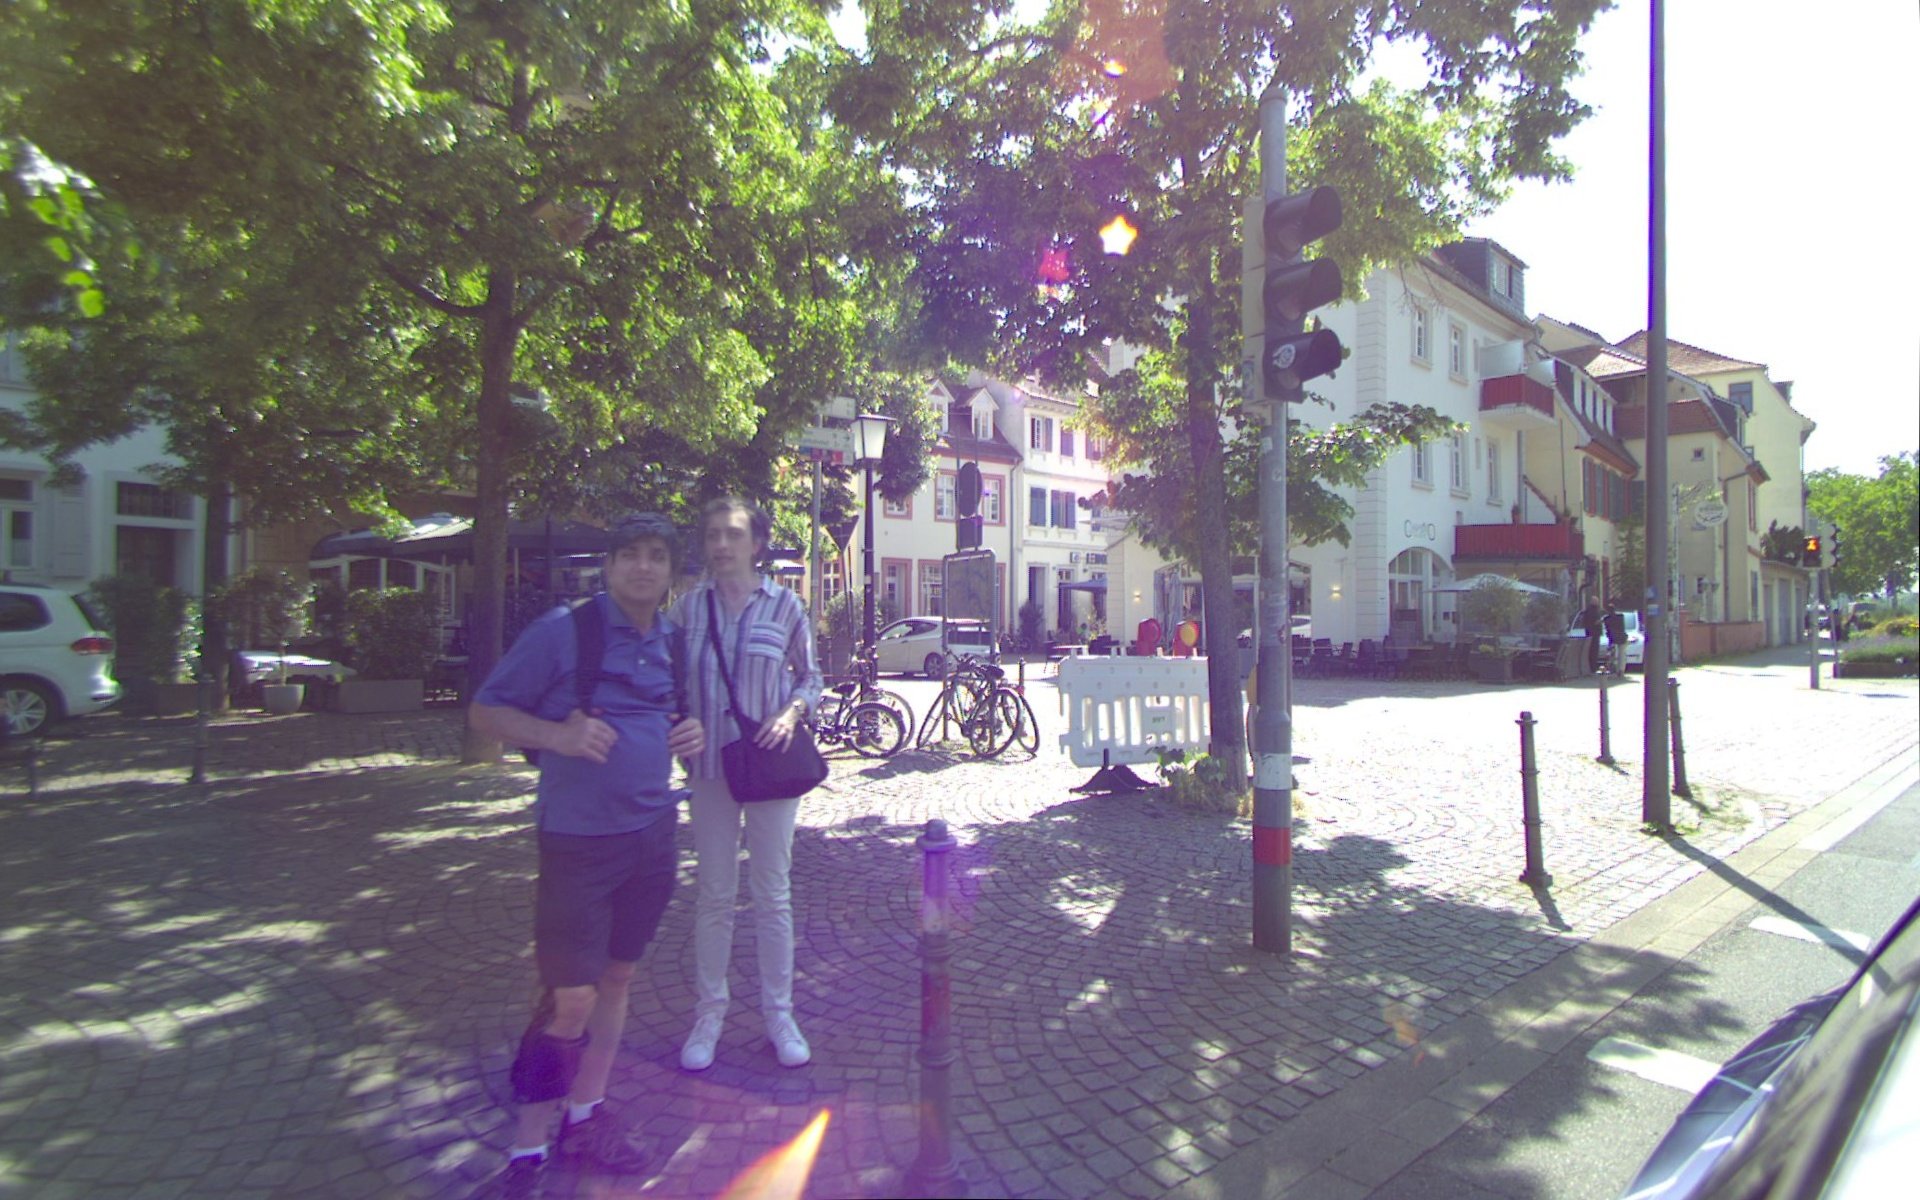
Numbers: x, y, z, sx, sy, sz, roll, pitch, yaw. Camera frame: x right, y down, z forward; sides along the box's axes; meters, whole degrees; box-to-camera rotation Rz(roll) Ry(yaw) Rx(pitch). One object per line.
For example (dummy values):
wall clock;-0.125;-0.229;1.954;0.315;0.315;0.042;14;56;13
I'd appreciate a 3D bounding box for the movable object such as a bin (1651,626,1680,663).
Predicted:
movable object such as a bin;20.692;1.301;29.687;0.358;1.081;0.642;1;-1;-41

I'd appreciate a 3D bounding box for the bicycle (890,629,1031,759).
bicycle;-0.052;0.919;10.456;0.511;1.214;2.019;1;-3;-30

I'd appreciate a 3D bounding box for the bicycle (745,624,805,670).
bicycle;-5.472;1.374;29.942;0.654;1.296;1.741;0;-2;37

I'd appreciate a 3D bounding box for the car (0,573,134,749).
car;-11.047;0.598;9.885;4.491;1.751;1.770;1;-1;-43

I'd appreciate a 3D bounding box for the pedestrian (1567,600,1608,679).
pedestrian;15.398;0.946;24.832;0.761;1.881;0.601;1;0;40

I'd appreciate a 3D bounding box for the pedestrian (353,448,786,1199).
pedestrian;-0.972;0.538;2.558;0.693;1.698;0.753;1;0;40

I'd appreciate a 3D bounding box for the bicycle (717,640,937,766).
bicycle;-1.276;0.954;9.810;2.022;1.081;0.597;0;0;-23

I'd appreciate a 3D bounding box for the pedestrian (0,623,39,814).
pedestrian;-6.804;0.794;6.848;0.692;1.268;0.753;-1;-1;40

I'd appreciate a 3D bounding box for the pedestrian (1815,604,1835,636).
pedestrian;49.348;1.143;57.748;0.759;1.735;0.687;3;1;36

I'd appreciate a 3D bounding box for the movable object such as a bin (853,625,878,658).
movable object such as a bin;-3.301;1.458;35.453;0.588;1.120;0.669;1;-1;-41

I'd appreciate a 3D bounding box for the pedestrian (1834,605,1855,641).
pedestrian;42.635;1.114;48.776;0.737;1.720;0.920;0;-1;40

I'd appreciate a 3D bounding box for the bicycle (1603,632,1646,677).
bicycle;15.588;1.260;23.726;0.747;0.976;1.759;-2;-1;36

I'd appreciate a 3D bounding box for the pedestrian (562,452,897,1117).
pedestrian;-0.728;0.492;3.249;0.693;1.794;0.753;1;0;40

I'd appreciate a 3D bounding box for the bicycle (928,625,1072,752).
bicycle;0.368;0.902;10.726;0.511;1.214;2.006;1;-3;-30

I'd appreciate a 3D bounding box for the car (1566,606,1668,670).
car;17.969;0.984;27.581;1.874;1.598;4.660;-1;-1;39

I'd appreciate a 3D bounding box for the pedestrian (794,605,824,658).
pedestrian;-5.349;1.107;35.903;0.693;1.821;0.753;1;0;40

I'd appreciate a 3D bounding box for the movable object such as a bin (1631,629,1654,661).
movable object such as a bin;20.319;1.333;30.149;0.314;0.956;0.496;1;-1;-41

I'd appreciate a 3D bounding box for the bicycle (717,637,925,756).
bicycle;-1.405;0.943;10.322;2.022;1.081;0.597;0;0;-23

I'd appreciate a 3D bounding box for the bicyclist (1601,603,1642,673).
bicyclist;15.461;0.871;23.644;0.763;1.604;1.076;-1;-1;34

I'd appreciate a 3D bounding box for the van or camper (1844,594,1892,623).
van or camper;83.588;0.789;93.240;2.078;2.590;7.008;-1;-1;33

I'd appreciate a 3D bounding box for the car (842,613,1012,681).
car;-0.840;1.119;24.172;3.986;1.475;1.804;-2;-4;44

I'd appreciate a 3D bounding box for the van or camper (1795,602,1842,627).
van or camper;80.729;1.368;95.254;2.419;2.313;6.135;-1;-1;31

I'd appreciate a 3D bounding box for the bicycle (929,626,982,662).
bicycle;-0.156;1.515;35.217;1.871;1.208;0.630;-1;-2;40

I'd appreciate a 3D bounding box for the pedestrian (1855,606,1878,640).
pedestrian;43.135;1.089;48.143;0.760;1.616;0.686;-1;-2;40

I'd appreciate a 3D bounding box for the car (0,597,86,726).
car;-13.199;0.756;13.850;1.595;1.450;3.744;5;-1;-44
